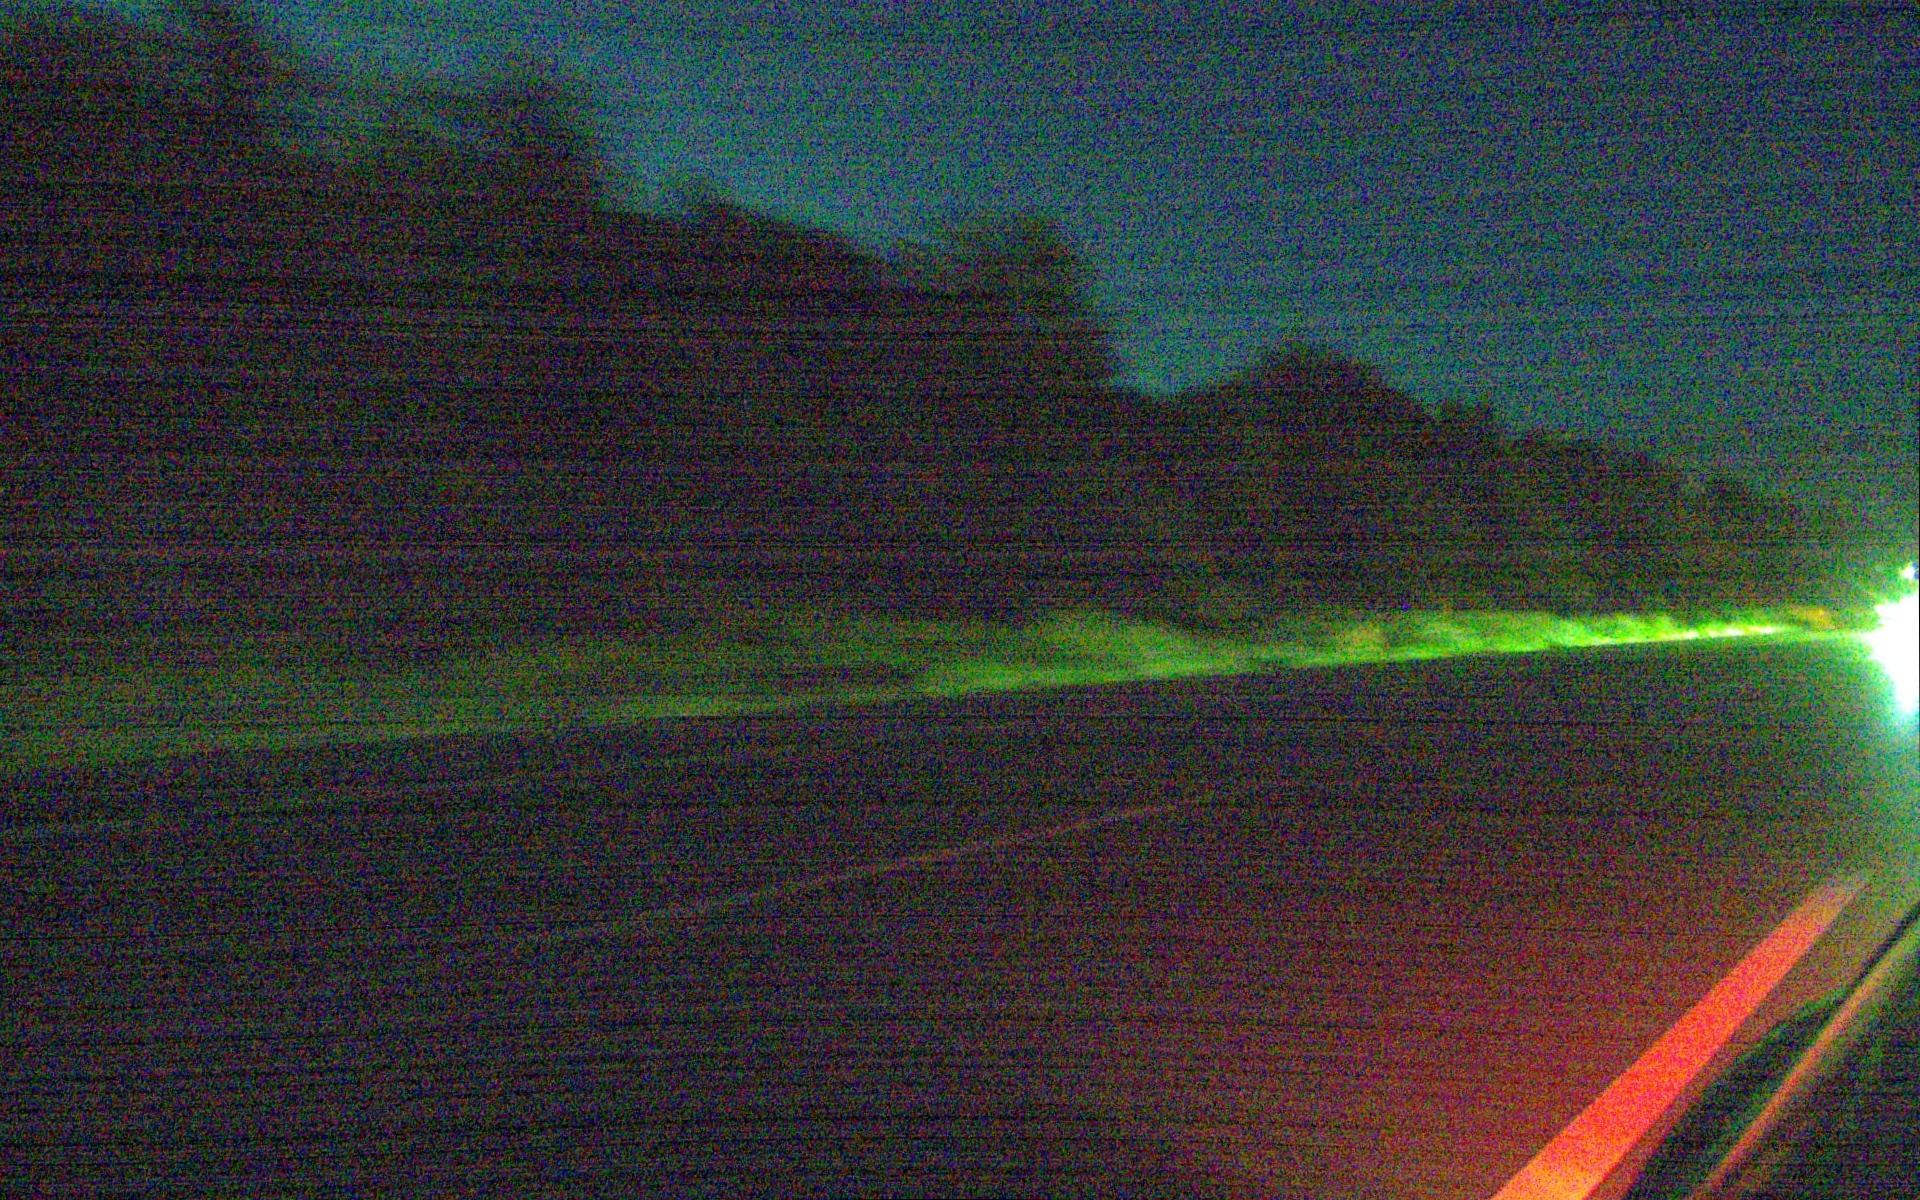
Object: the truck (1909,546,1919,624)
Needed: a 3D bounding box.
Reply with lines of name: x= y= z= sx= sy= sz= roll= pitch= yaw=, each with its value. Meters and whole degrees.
truck: x=54.179 y=-0.789 z=55.158 sx=7.535 sy=4.124 sz=2.596 roll=1 pitch=-1 yaw=-39
